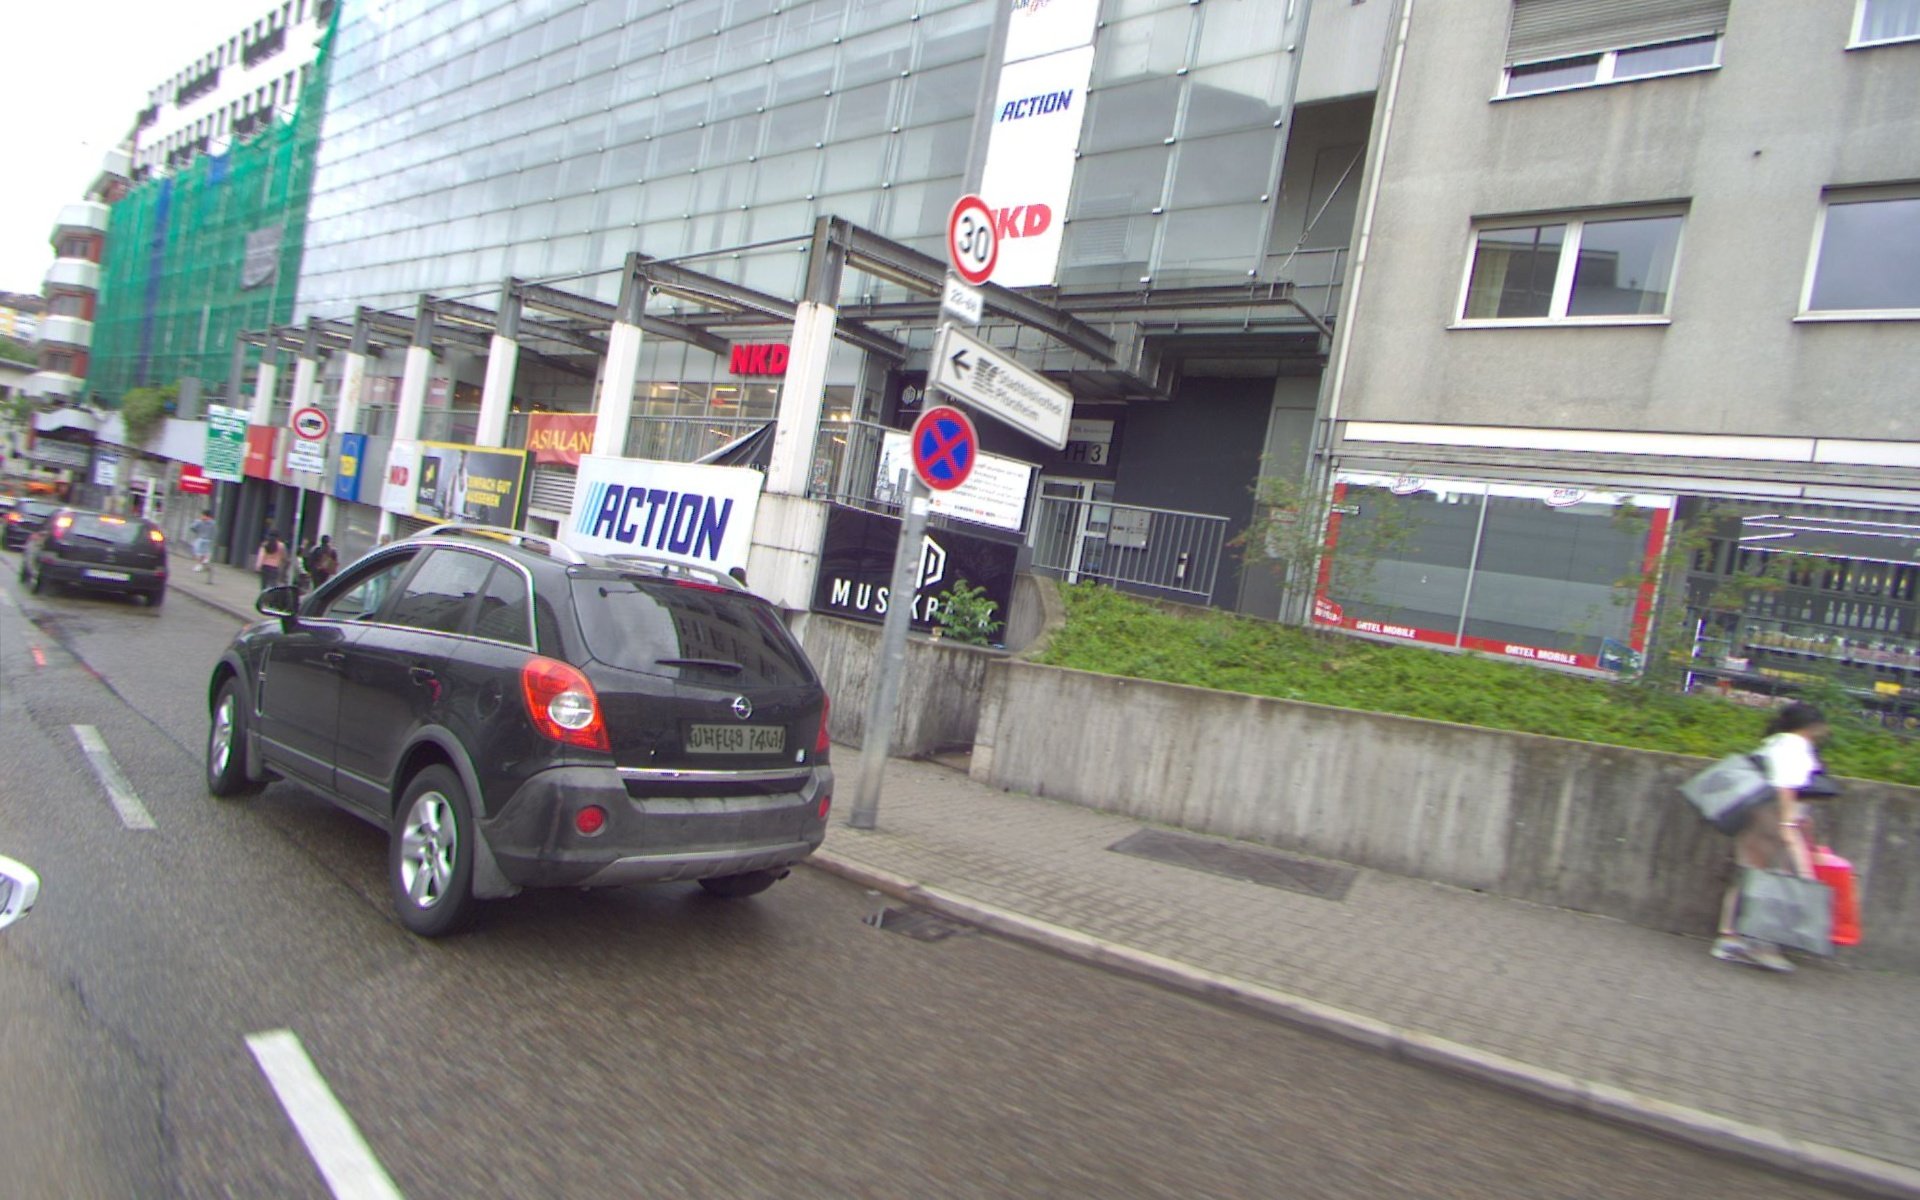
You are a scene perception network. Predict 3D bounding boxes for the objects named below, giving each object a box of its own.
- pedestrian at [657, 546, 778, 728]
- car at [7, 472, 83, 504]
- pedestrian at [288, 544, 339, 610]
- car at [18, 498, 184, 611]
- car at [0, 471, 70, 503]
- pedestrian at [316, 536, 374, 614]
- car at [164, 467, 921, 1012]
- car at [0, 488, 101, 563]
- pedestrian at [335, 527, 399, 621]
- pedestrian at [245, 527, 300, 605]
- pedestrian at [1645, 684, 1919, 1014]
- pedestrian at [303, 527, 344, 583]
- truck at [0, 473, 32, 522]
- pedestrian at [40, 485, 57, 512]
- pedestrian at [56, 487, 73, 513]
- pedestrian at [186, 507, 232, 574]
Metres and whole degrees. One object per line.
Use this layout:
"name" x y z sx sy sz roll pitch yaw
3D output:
"pedestrian" -2.716 0.409 11.261 0.997 1.862 0.599 9 1 40
"car" -72.473 -8.831 79.769 1.745 1.634 4.007 8 -3 31
"pedestrian" -13.186 -0.476 20.509 0.688 1.222 0.547 8 0 -40
"car" -14.478 -0.798 16.886 3.721 1.436 1.714 7 -3 45
"car" -72.823 -8.830 79.000 1.743 1.634 3.830 8 -2 26
"pedestrian" -12.787 -0.523 20.912 0.769 1.484 0.696 8 0 -41
"car" -2.548 0.425 5.640 4.236 1.807 1.907 9 0 38
"car" -25.461 -2.107 27.719 3.942 1.591 1.950 8 -2 40
"pedestrian" -11.806 -0.518 20.034 0.832 1.743 0.610 8 0 -40
"pedestrian" -13.791 -0.681 20.178 0.743 1.456 0.590 6 1 -40
"pedestrian" 4.912 1.374 5.962 1.008 1.552 1.058 8 2 21
"pedestrian" -21.350 -1.491 33.751 0.805 1.735 0.669 8 0 -12
"truck" -47.169 -5.176 48.805 5.519 2.106 2.185 8 -2 39
"pedestrian" -63.758 -7.110 70.388 0.640 1.720 0.576 8 0 32
"pedestrian" -63.189 -7.049 70.980 0.639 1.720 0.577 8 0 27
"pedestrian" -21.088 -1.666 28.253 0.832 1.743 0.820 8 0 -40
